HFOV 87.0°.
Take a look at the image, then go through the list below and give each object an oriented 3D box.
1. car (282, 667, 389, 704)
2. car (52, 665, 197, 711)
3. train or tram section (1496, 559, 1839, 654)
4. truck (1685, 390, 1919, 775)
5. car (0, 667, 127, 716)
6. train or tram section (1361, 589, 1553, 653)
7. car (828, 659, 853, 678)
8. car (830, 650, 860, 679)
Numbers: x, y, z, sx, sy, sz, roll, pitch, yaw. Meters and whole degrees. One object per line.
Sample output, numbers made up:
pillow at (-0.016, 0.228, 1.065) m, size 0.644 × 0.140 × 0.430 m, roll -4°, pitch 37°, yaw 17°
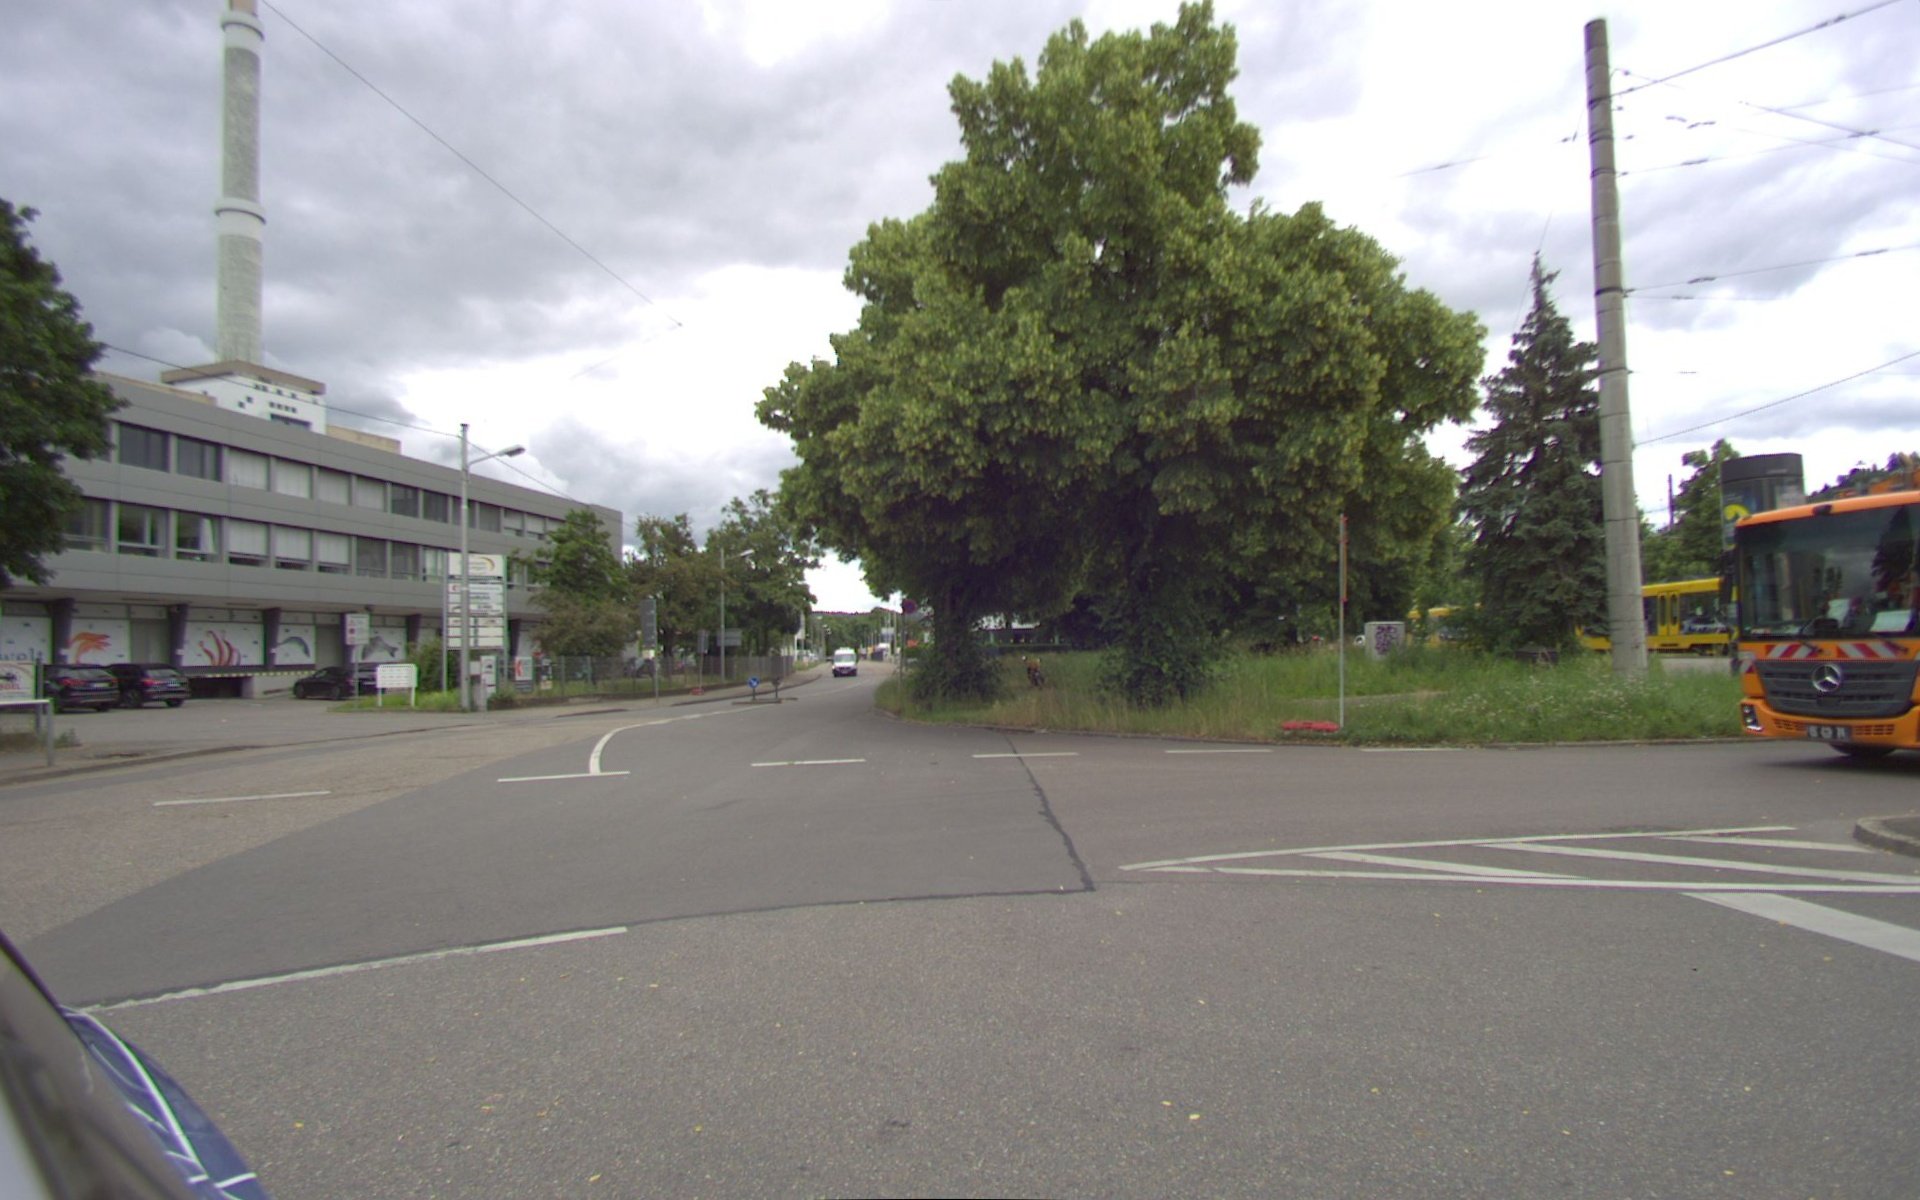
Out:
car at (-28.050, 3.819, 45.440) m, size 4.809 × 1.456 × 2.030 m, roll -1°, pitch -3°, yaw 30°
car at (-31.346, 3.285, 38.002) m, size 4.377 × 1.630 × 1.832 m, roll -1°, pitch -3°, yaw 12°
train or tram section at (33.529, 0.752, 50.301) m, size 3.231 × 3.694 × 19.171 m, roll -2°, pitch -3°, yaw 0°
truck at (13.668, -0.278, 11.364) m, size 10.247 × 3.553 × 2.805 m, roll -2°, pitch -2°, yaw -14°
car at (-31.682, 3.154, 35.197) m, size 4.420 × 1.630 × 1.831 m, roll -1°, pitch -3°, yaw 13°
train or tram section at (33.190, 1.723, 69.445) m, size 3.231 × 3.694 × 19.174 m, roll -2°, pitch -3°, yaw -1°
car at (-12.493, 7.153, 106.100) m, size 2.354 × 1.884 × 5.211 m, roll -2°, pitch -3°, yaw -4°
car at (-10.362, 5.814, 91.625) m, size 2.354 × 2.478 × 6.105 m, roll -2°, pitch -3°, yaw -4°
